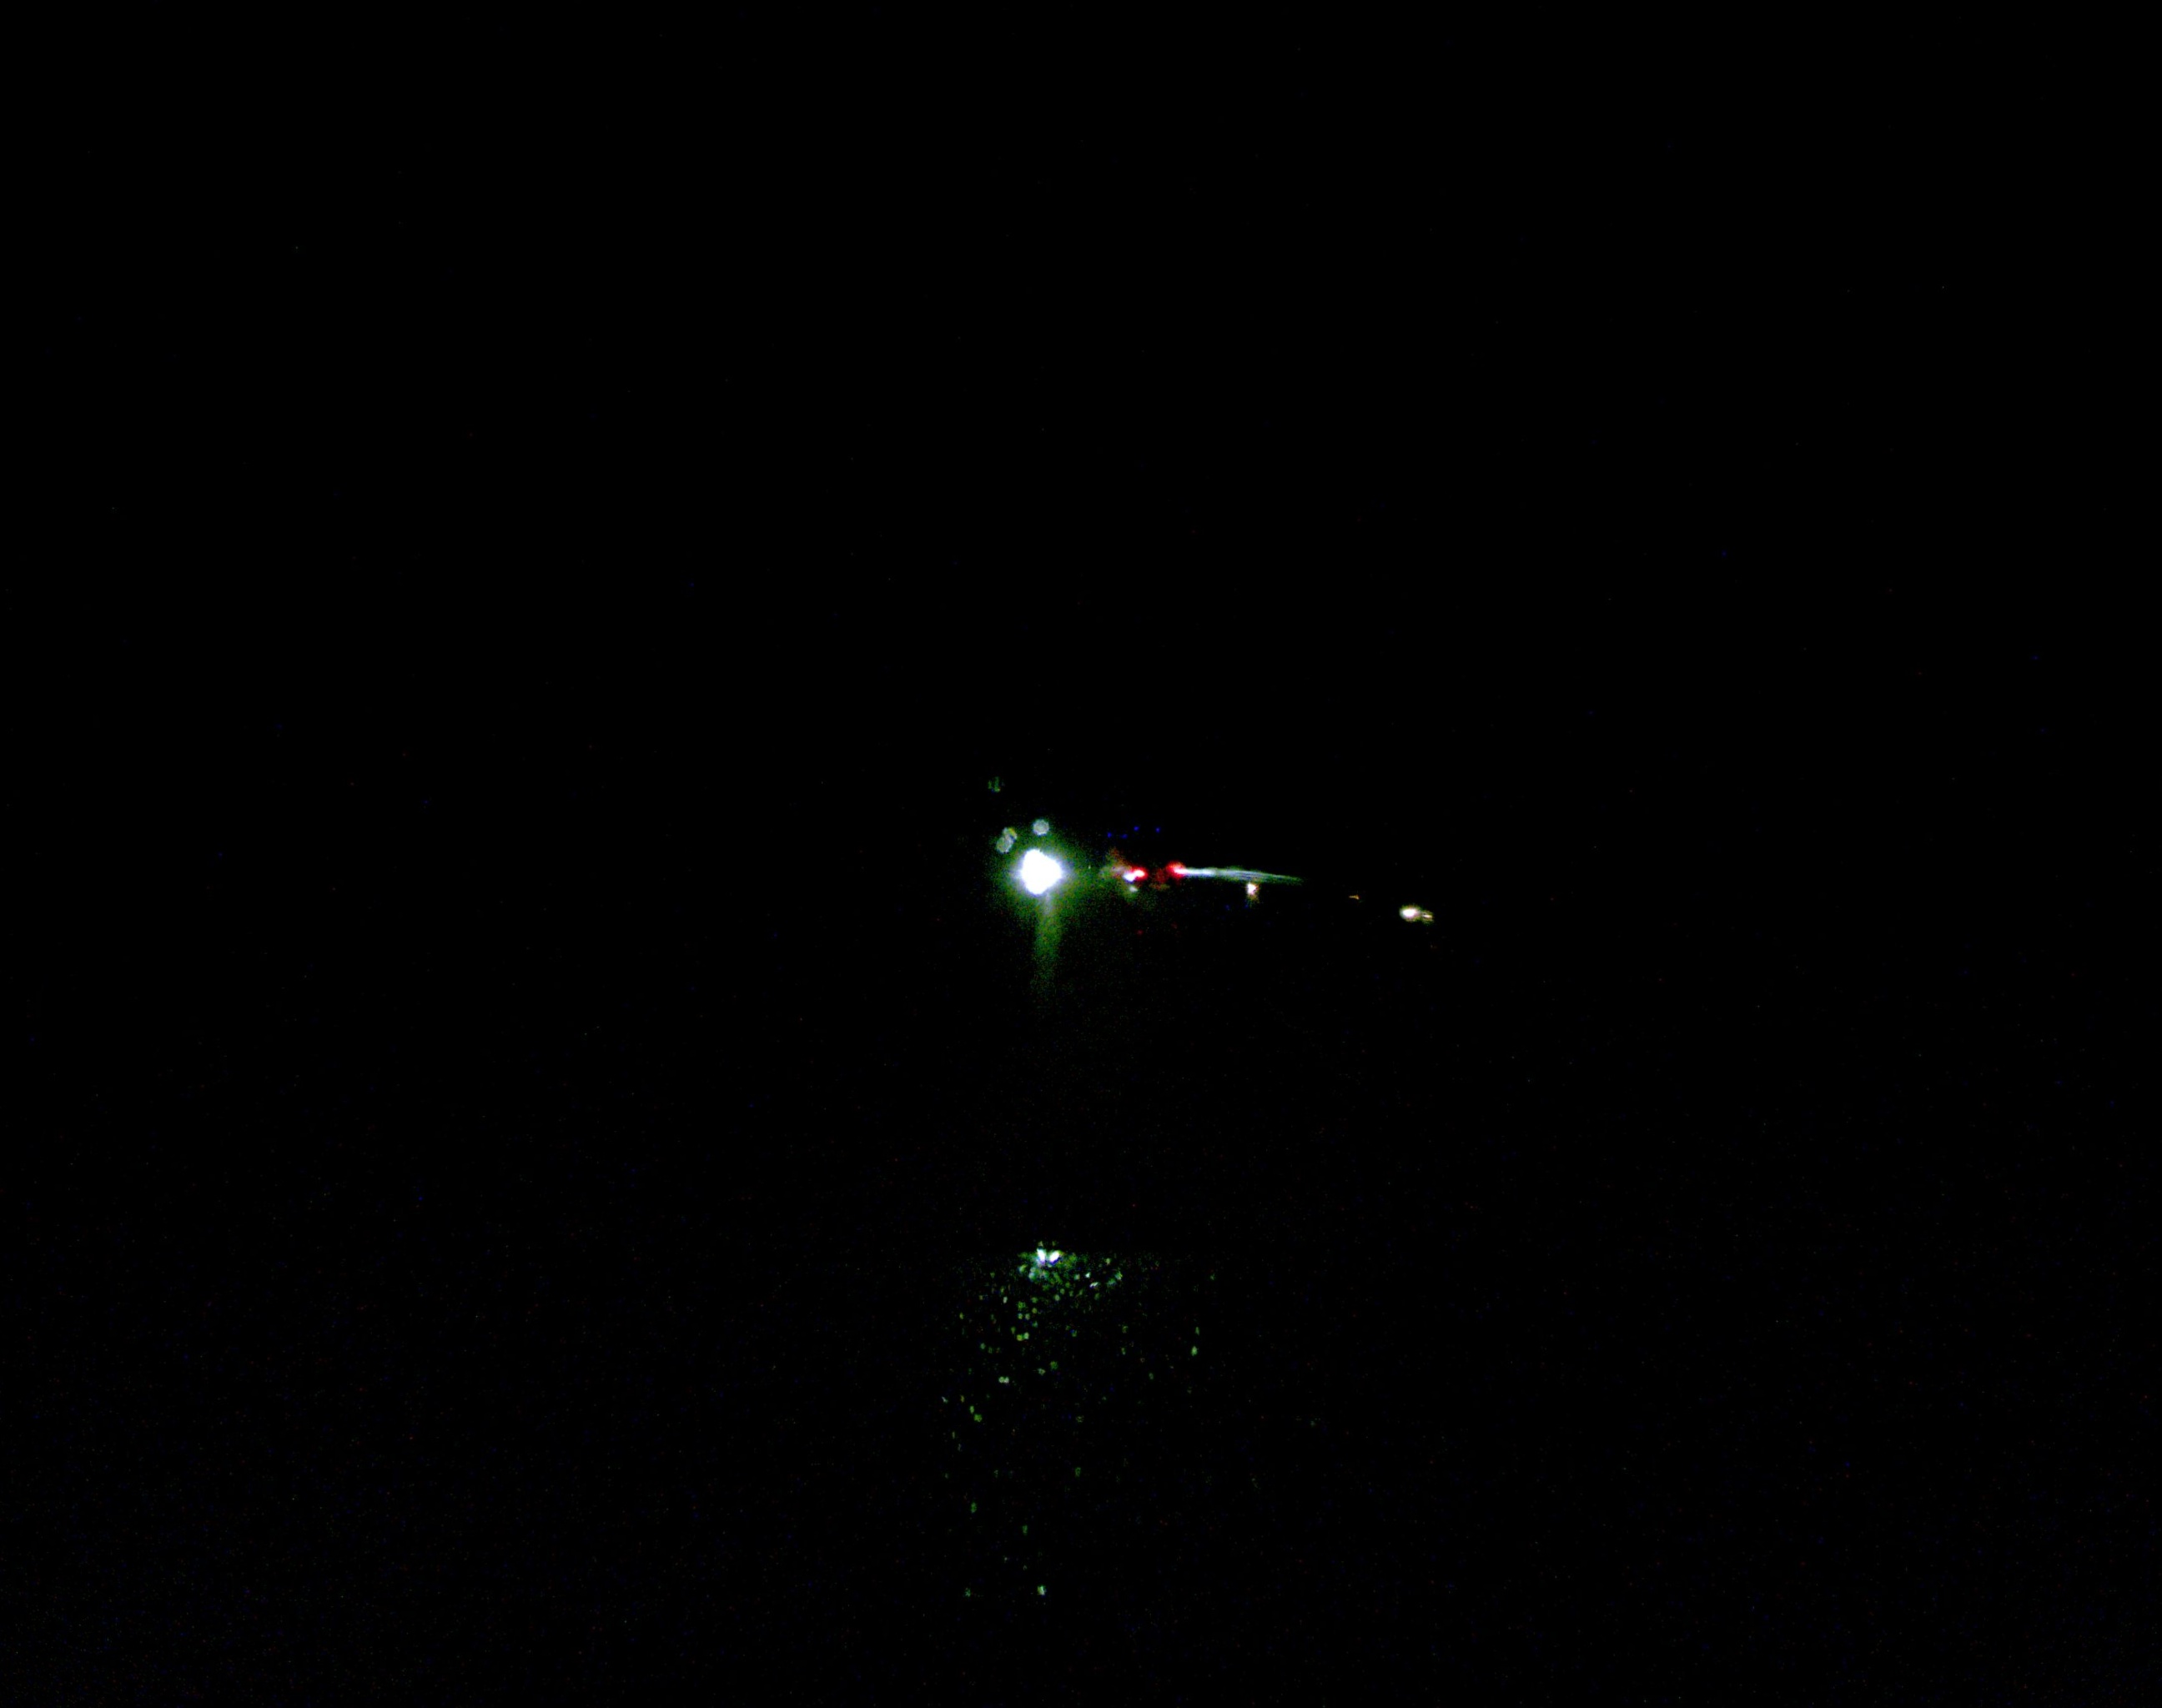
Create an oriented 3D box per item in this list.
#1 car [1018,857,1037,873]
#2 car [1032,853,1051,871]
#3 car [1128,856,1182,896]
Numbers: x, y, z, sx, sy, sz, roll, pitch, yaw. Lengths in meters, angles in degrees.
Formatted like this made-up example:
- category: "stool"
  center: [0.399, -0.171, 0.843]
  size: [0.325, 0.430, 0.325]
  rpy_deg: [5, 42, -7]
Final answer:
- category: "car"
  center: [-6.904, 1.427, 97.844]
  size: [2.203, 2.001, 4.206]
  rpy_deg: [-3, -1, -4]
- category: "car"
  center: [-4.876, 0.954, 93.040]
  size: [1.999, 2.002, 3.997]
  rpy_deg: [-3, 2, -5]
- category: "car"
  center: [2.822, 0.823, 29.764]
  size: [1.744, 1.394, 3.861]
  rpy_deg: [-2, 0, 1]
